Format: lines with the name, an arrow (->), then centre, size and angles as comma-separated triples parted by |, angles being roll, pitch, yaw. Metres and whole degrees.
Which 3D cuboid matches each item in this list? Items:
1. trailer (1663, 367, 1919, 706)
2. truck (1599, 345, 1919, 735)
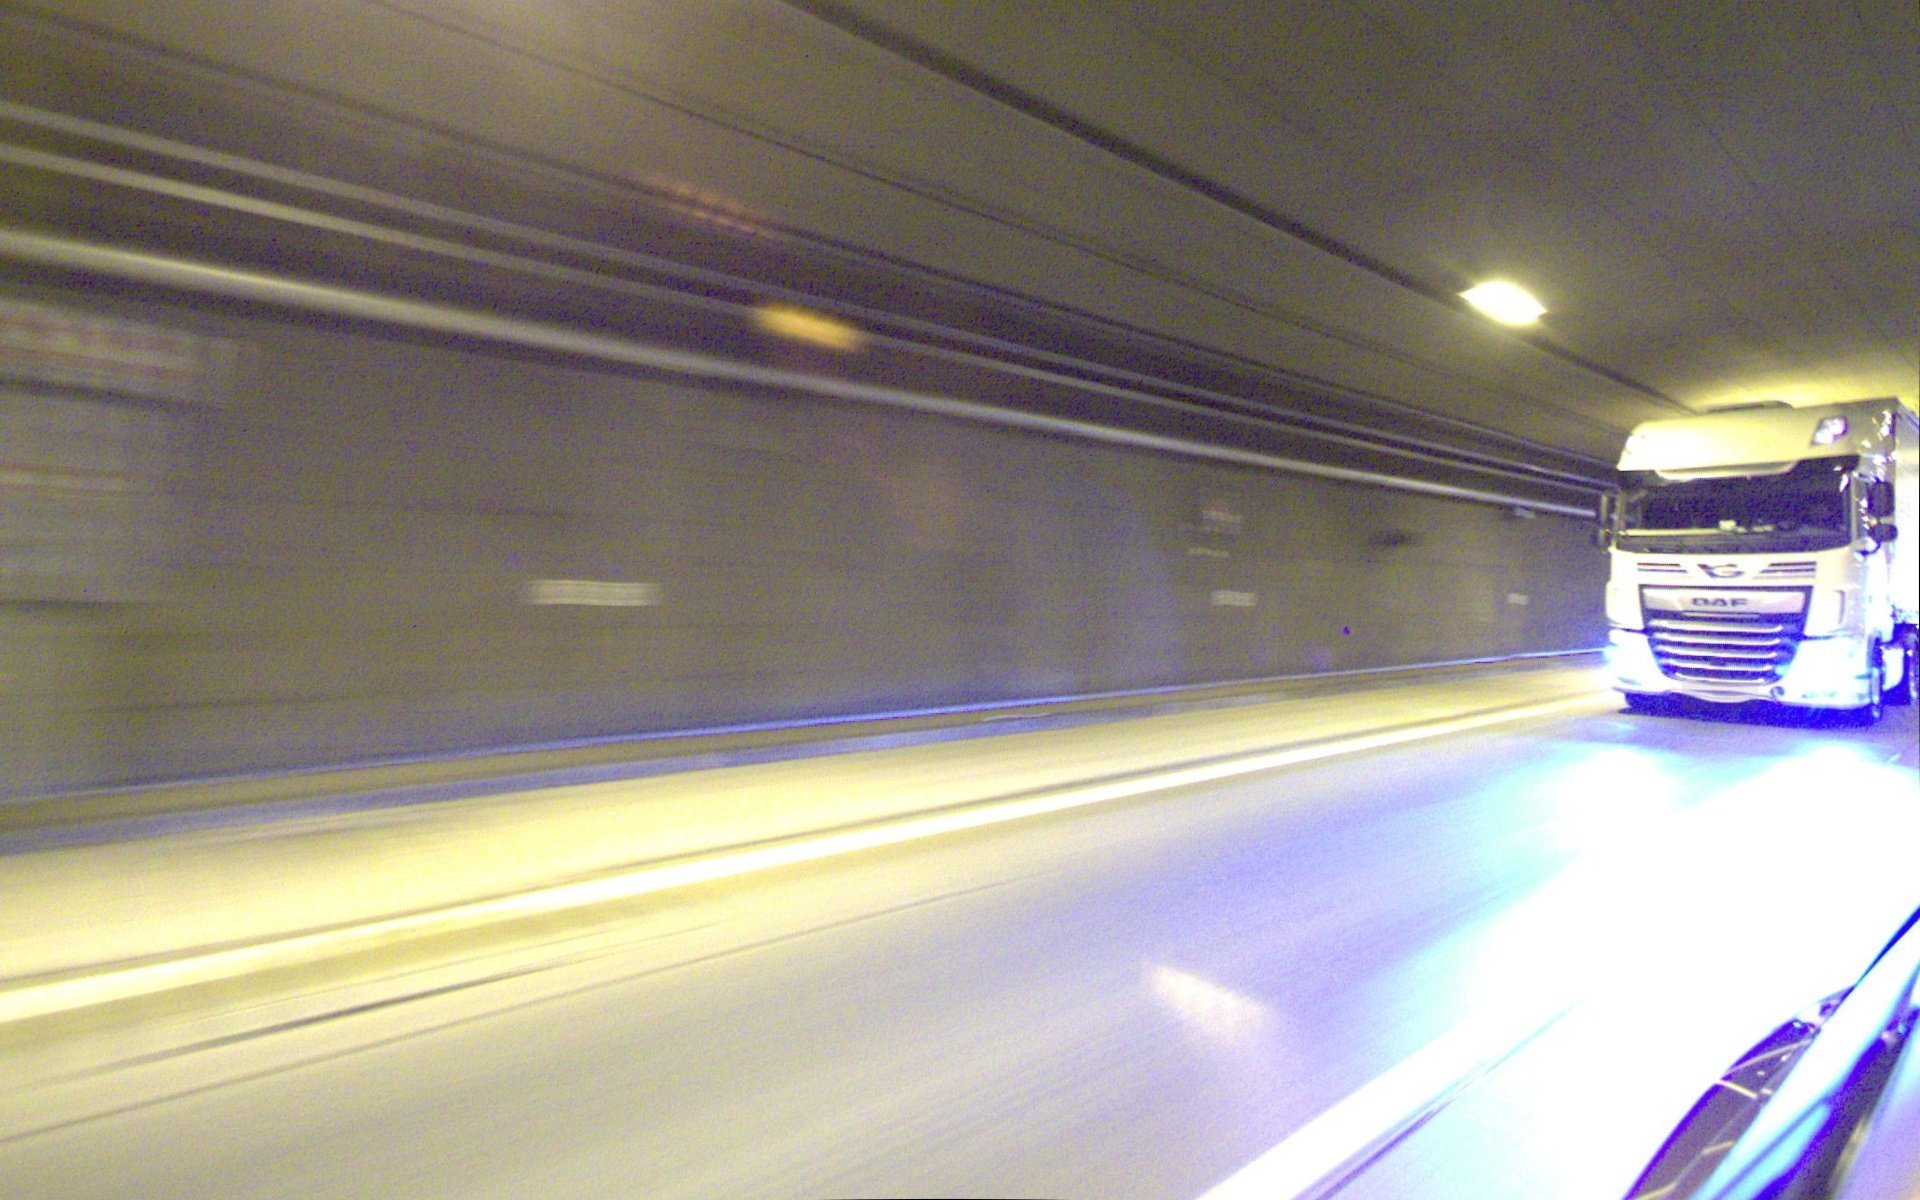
trailer -> 16.298, -0.814, 18.011 | 13.752, 4.216, 2.625 | 0, -1, -40
truck -> 11.345, -0.669, 13.860 | 5.898, 4.216, 2.651 | 0, 0, -40
